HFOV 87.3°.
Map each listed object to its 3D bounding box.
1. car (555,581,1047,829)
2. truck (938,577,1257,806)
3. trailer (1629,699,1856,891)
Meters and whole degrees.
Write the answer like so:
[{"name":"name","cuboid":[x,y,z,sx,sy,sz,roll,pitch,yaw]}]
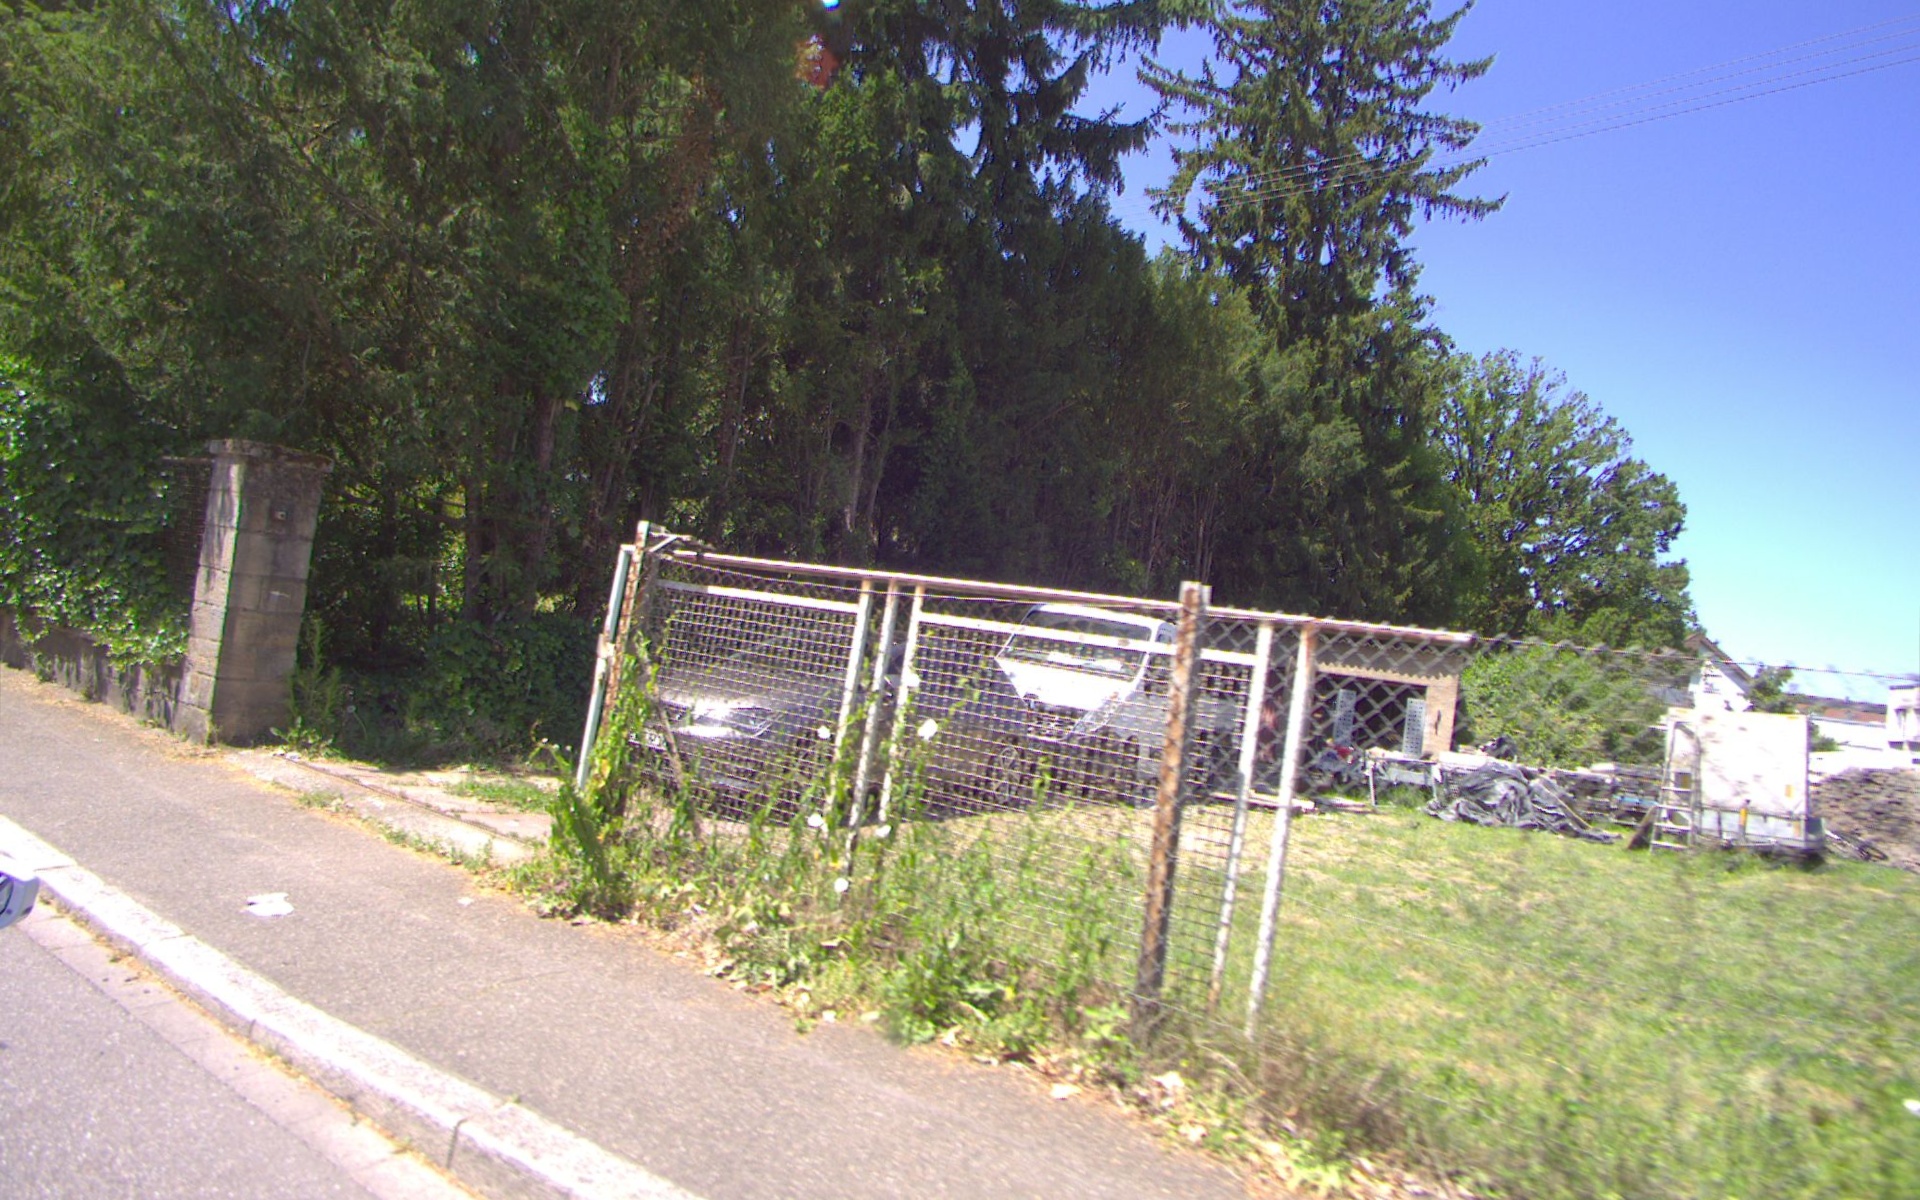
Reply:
[{"name":"car","cuboid":[-1.037,0.867,8.308,1.738,1.396,3.869,7,-3,34]},{"name":"truck","cuboid":[2.291,1.386,13.895,1.945,2.190,6.635,8,-4,28]},{"name":"trailer","cuboid":[10.246,2.442,13.199,2.054,1.955,3.987,0,-7,39]}]
